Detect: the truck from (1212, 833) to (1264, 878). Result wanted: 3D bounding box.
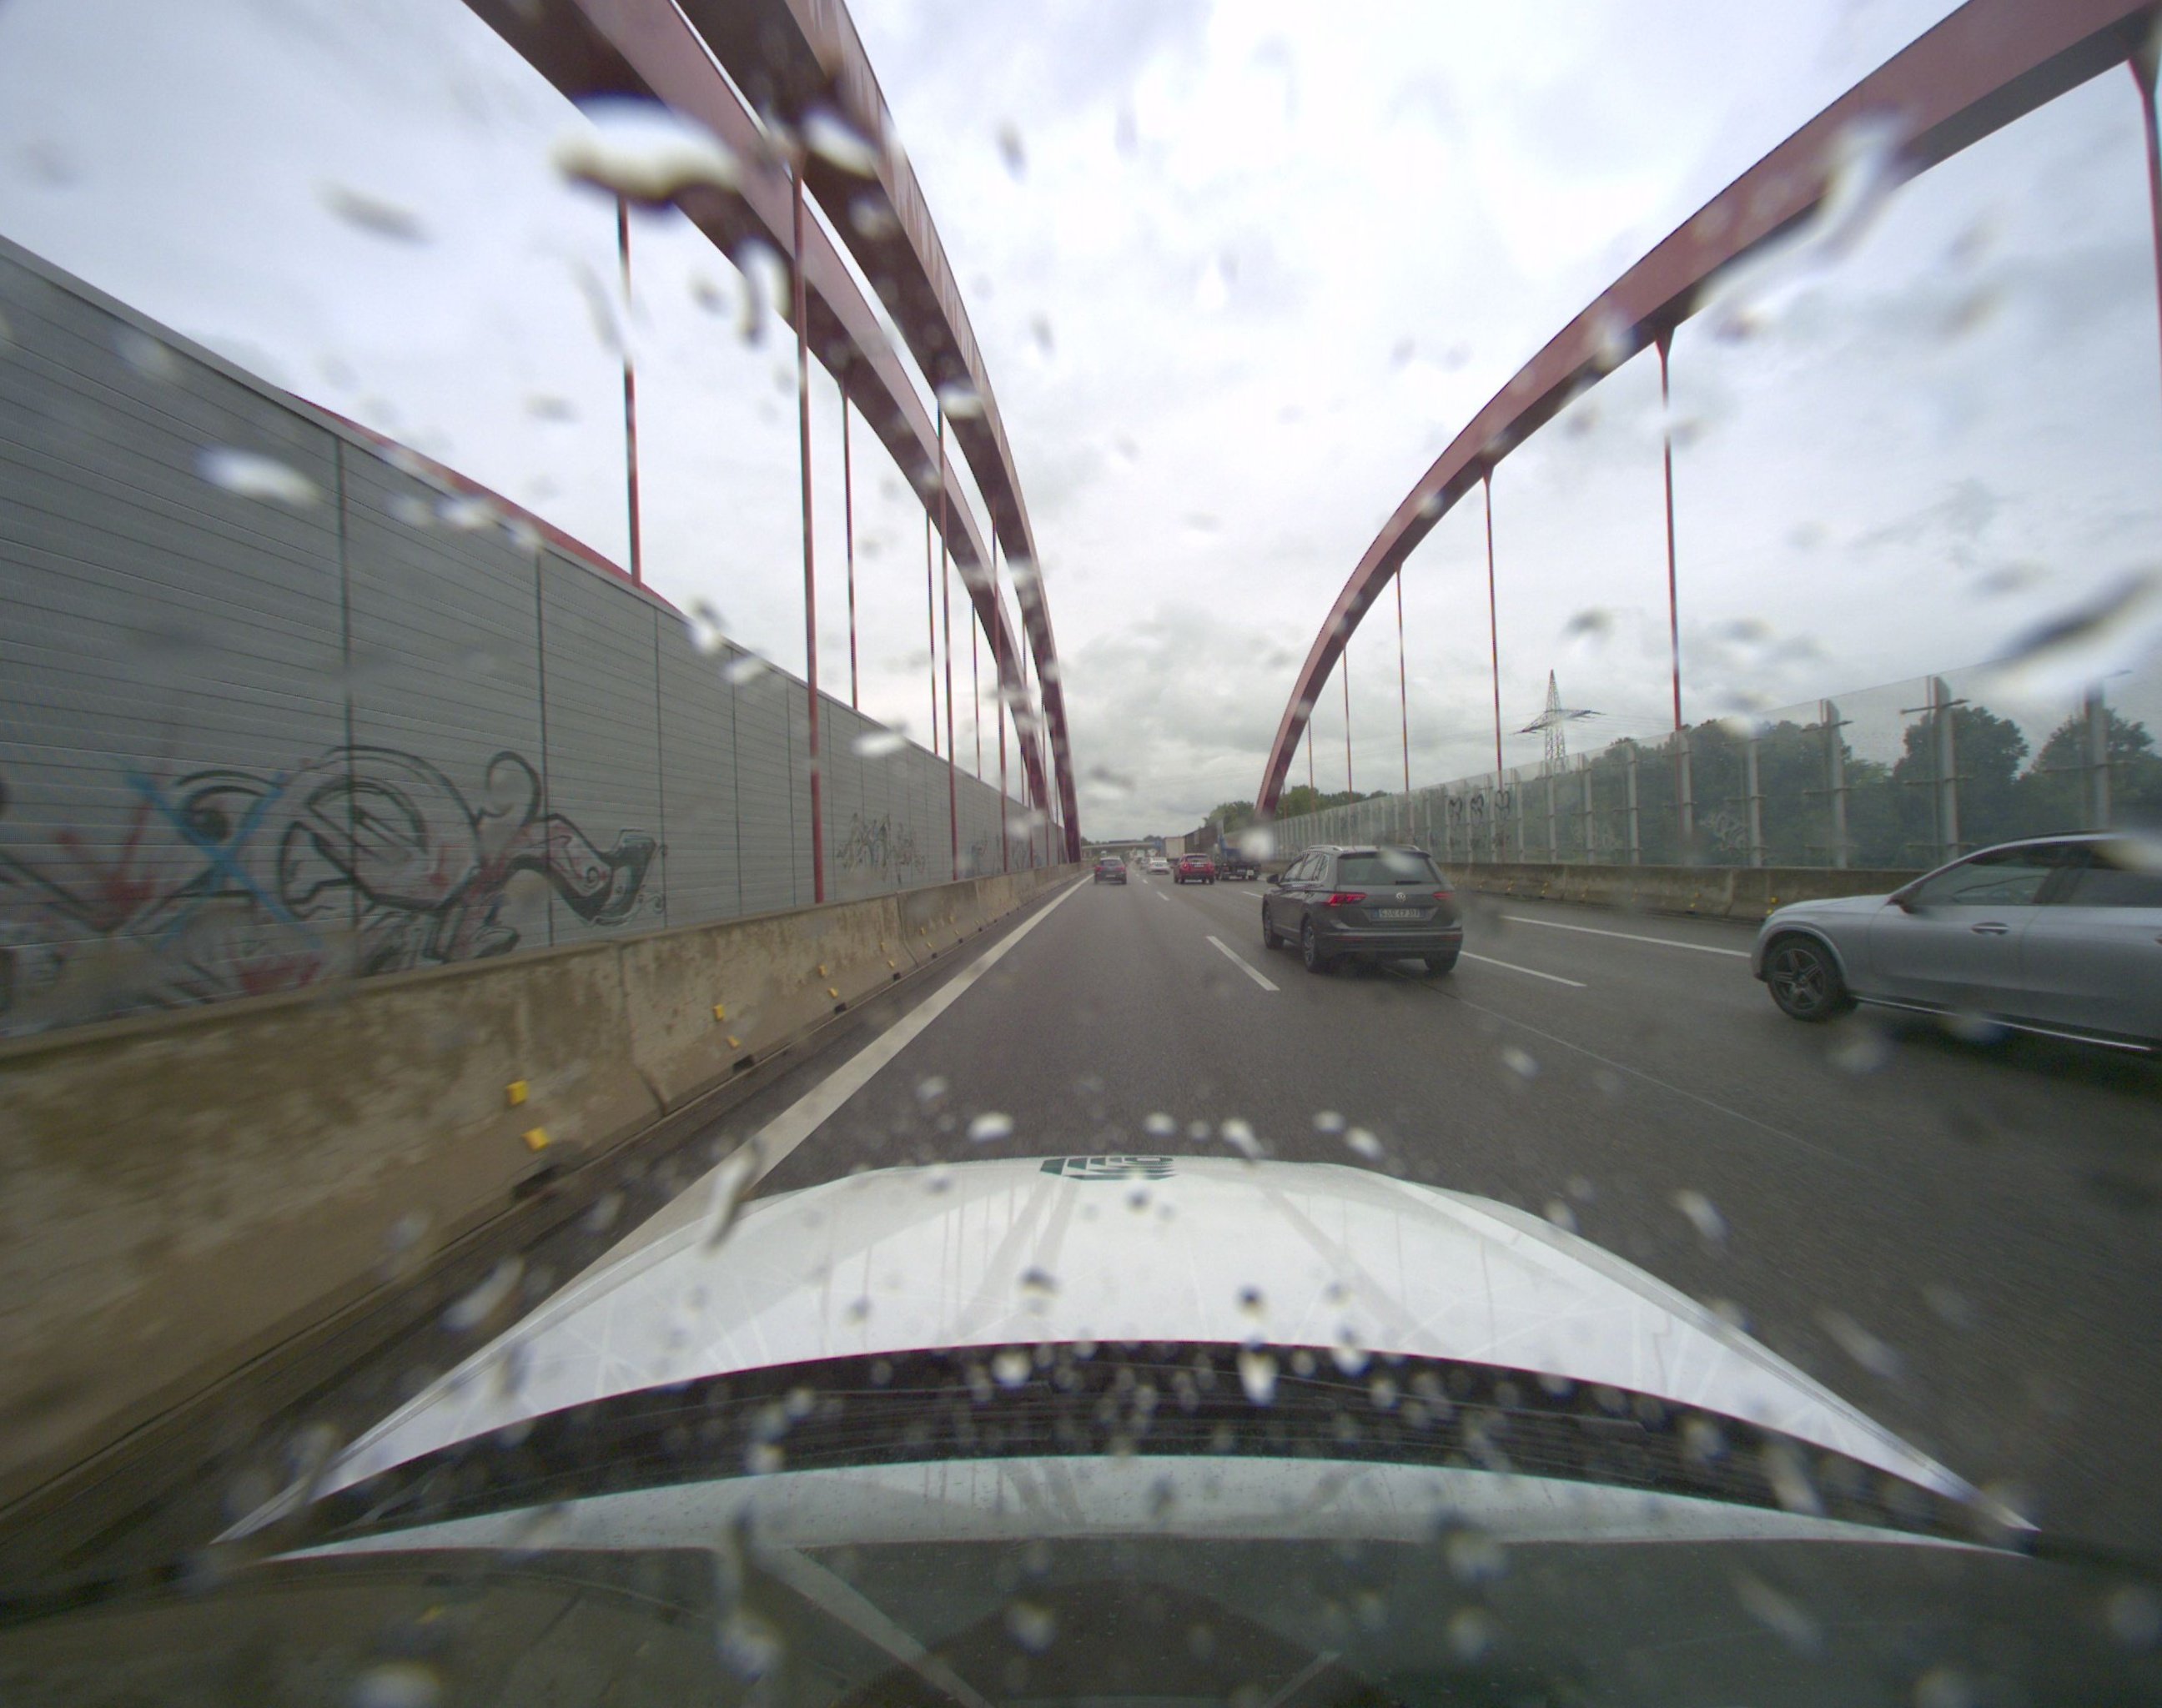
[{"bbox_3d":[9.433,0.095,49.422,2.350,2.506,6.151,-1,0,4],"label":"truck"}]

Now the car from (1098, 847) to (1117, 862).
[{"bbox_3d":[3.027,0.051,92.354,1.987,1.585,4.000,-2,0,0],"label":"car"}]

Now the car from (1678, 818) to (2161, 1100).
[{"bbox_3d":[7.260,0.586,5.998,1.985,1.619,5.331,-1,0,3],"label":"car"}]

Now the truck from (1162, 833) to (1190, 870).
[{"bbox_3d":[12.545,-0.318,107.663,3.033,4.734,7.683,0,0,2],"label":"truck"}]

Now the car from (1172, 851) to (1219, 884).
[{"bbox_3d":[6.096,0.684,43.673,1.950,1.647,4.001,-2,0,1],"label":"car"}]

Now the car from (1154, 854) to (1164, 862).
[{"bbox_3d":[16.145,0.821,168.936,1.985,1.519,4.003,-1,0,3],"label":"car"}]

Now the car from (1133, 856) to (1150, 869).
[{"bbox_3d":[7.080,0.993,95.713,1.696,1.543,3.839,-1,0,1],"label":"car"}]

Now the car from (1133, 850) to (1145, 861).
[{"bbox_3d":[10.939,0.282,153.372,1.986,2.014,4.001,0,0,2],"label":"car"}]

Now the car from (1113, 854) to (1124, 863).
[{"bbox_3d":[7.224,0.861,157.420,1.986,1.815,4.001,-1,0,2],"label":"car"}]

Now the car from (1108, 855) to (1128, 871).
[{"bbox_3d":[3.412,0.848,75.502,1.775,1.406,3.627,-1,0,1],"label":"car"}]

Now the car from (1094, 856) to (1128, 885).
[{"bbox_3d":[1.622,0.855,44.424,1.757,1.453,4.002,-1,0,2],"label":"car"}]

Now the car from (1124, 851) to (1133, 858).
[{"bbox_3d":[11.170,0.168,191.473,1.985,1.624,4.004,-1,0,4],"label":"car"}]

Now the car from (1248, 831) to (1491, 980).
[{"bbox_3d":[3.732,0.597,11.393,1.906,1.670,4.103,-1,0,0],"label":"car"}]

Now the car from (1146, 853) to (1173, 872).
[{"bbox_3d":[6.564,0.683,68.526,1.986,1.486,4.000,-1,0,1],"label":"car"}]
